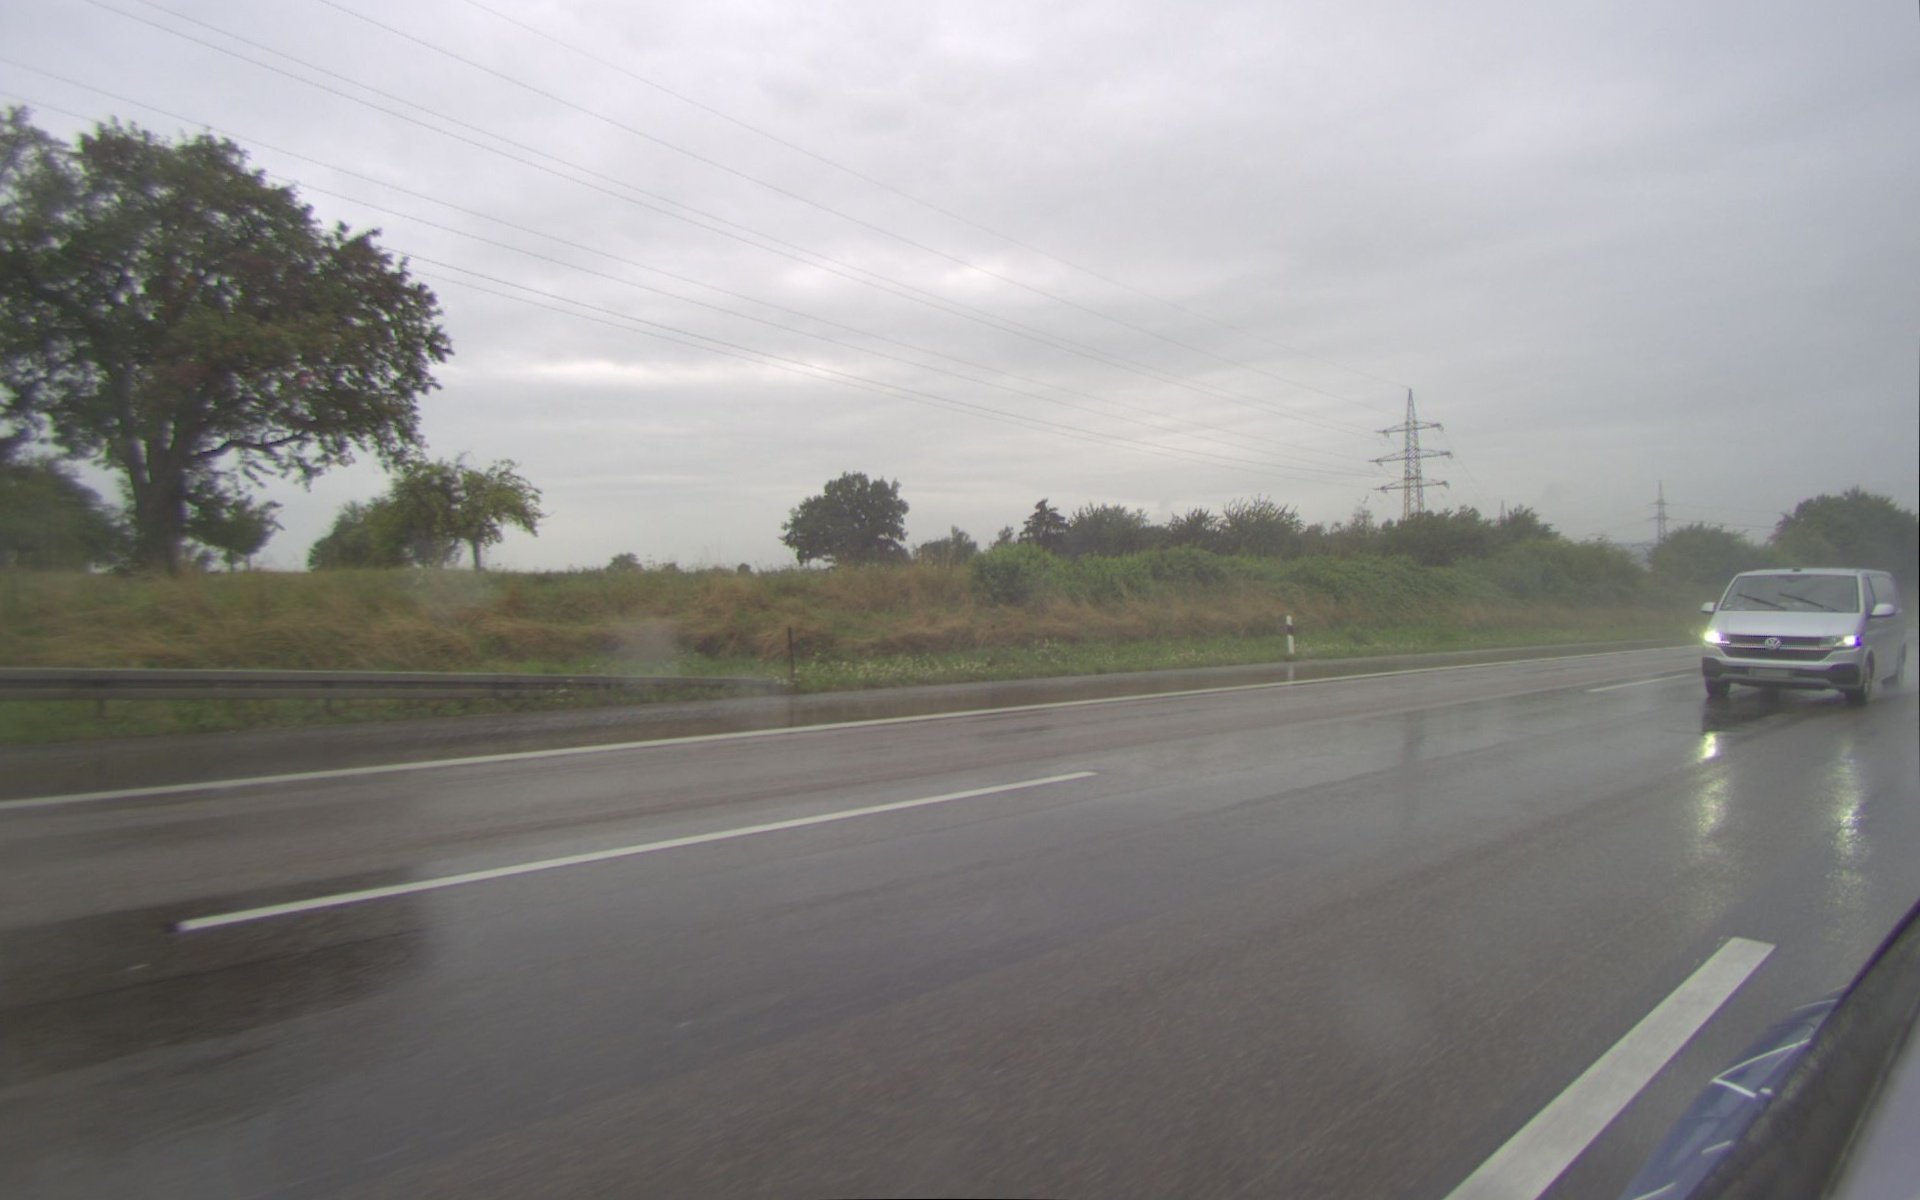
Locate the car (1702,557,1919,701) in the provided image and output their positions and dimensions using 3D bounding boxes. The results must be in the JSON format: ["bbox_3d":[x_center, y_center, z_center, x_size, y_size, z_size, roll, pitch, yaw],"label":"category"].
[{"bbox_3d":[13.398,0.417,15.708,4.920,1.908,1.890,0,-2,-40],"label":"car"}]
